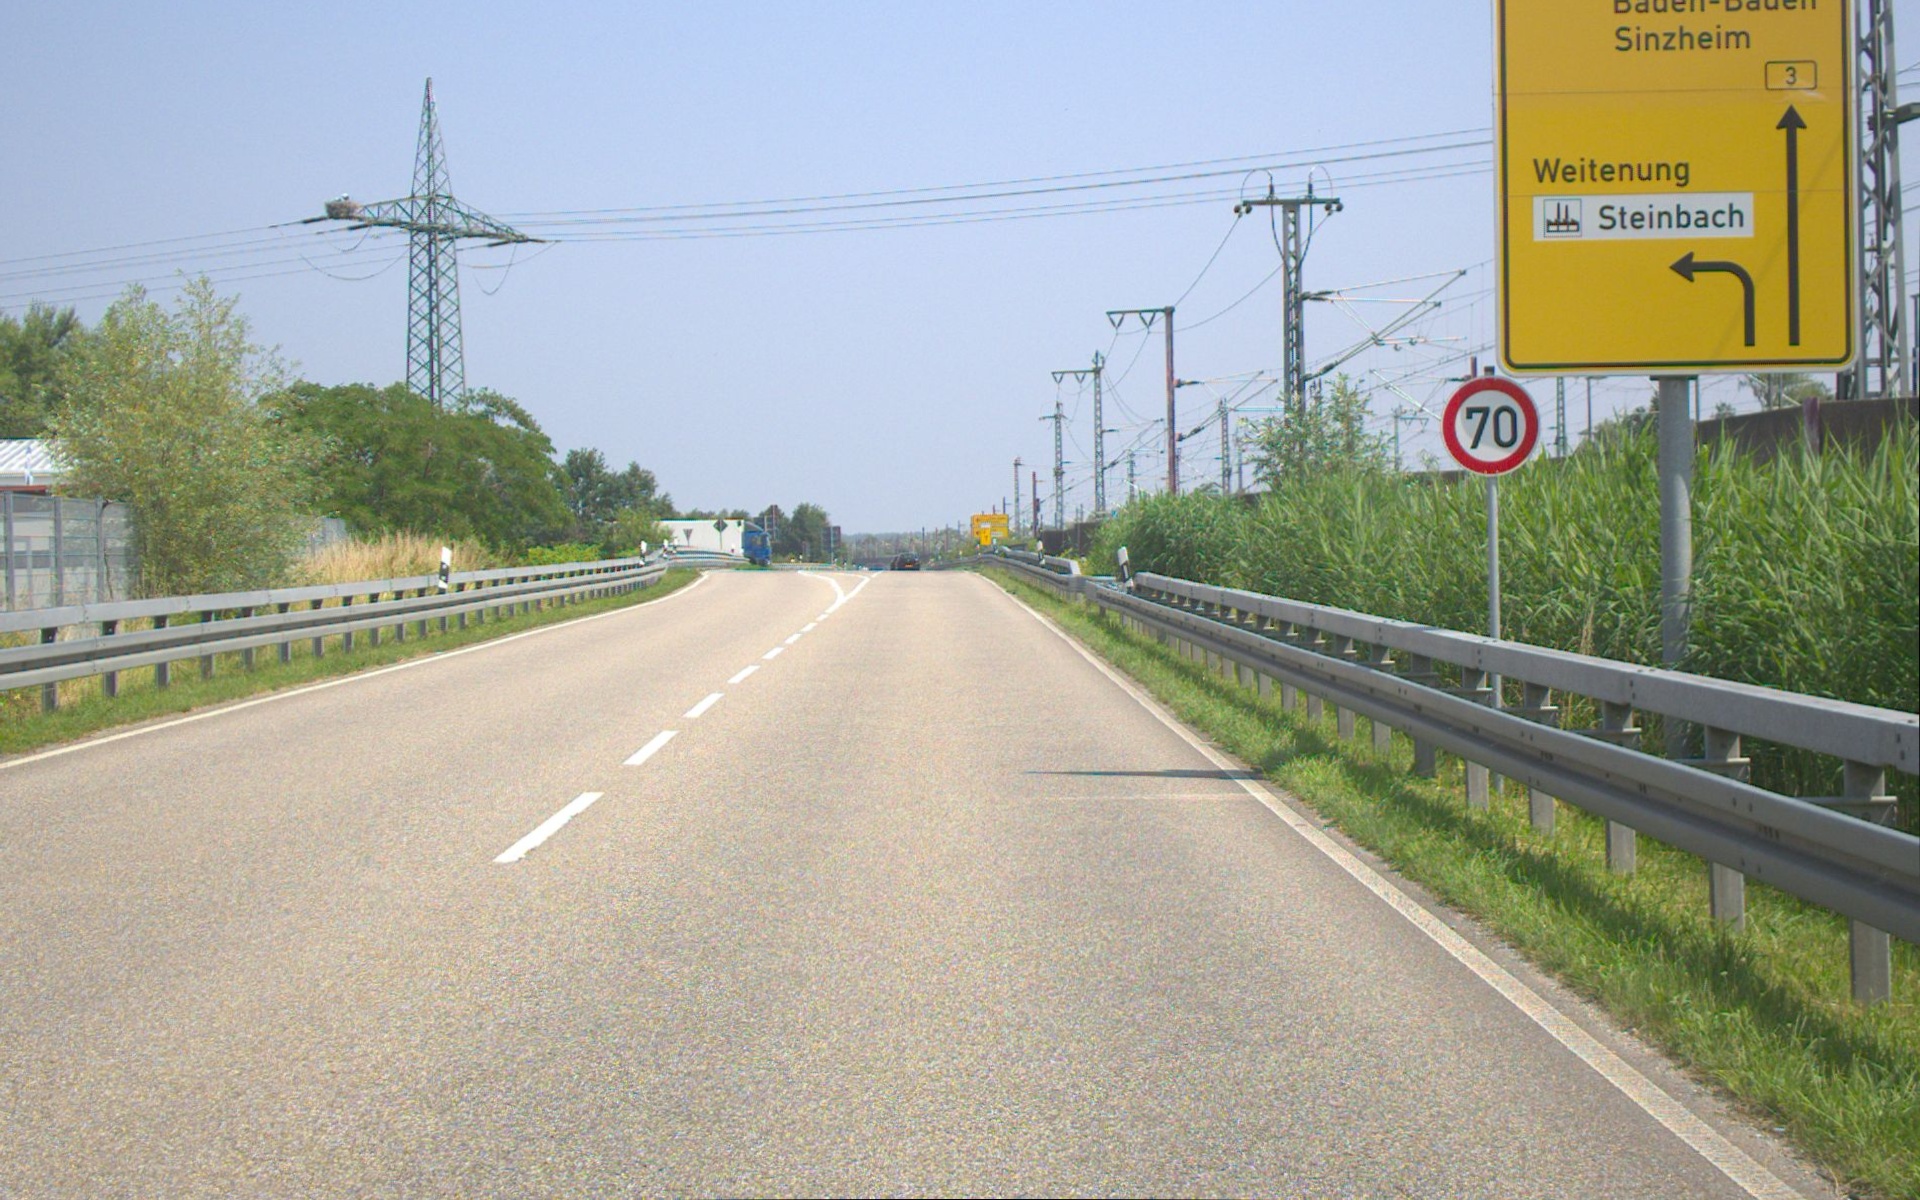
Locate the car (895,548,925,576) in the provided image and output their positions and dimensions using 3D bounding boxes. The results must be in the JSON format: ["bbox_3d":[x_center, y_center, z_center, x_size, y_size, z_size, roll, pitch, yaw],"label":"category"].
[{"bbox_3d":[-3.690,-2.812,253.682,1.993,2.007,4.001,0,1,-4],"label":"car"}]

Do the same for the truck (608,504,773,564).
[{"bbox_3d":[-17.404,-4.252,222.126,10.412,3.619,2.845,1,1,-1],"label":"truck"}]

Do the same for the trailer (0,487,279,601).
[{"bbox_3d":[-14.404,-0.945,57.911,5.386,1.842,2.544,0,1,-1],"label":"trailer"}]
